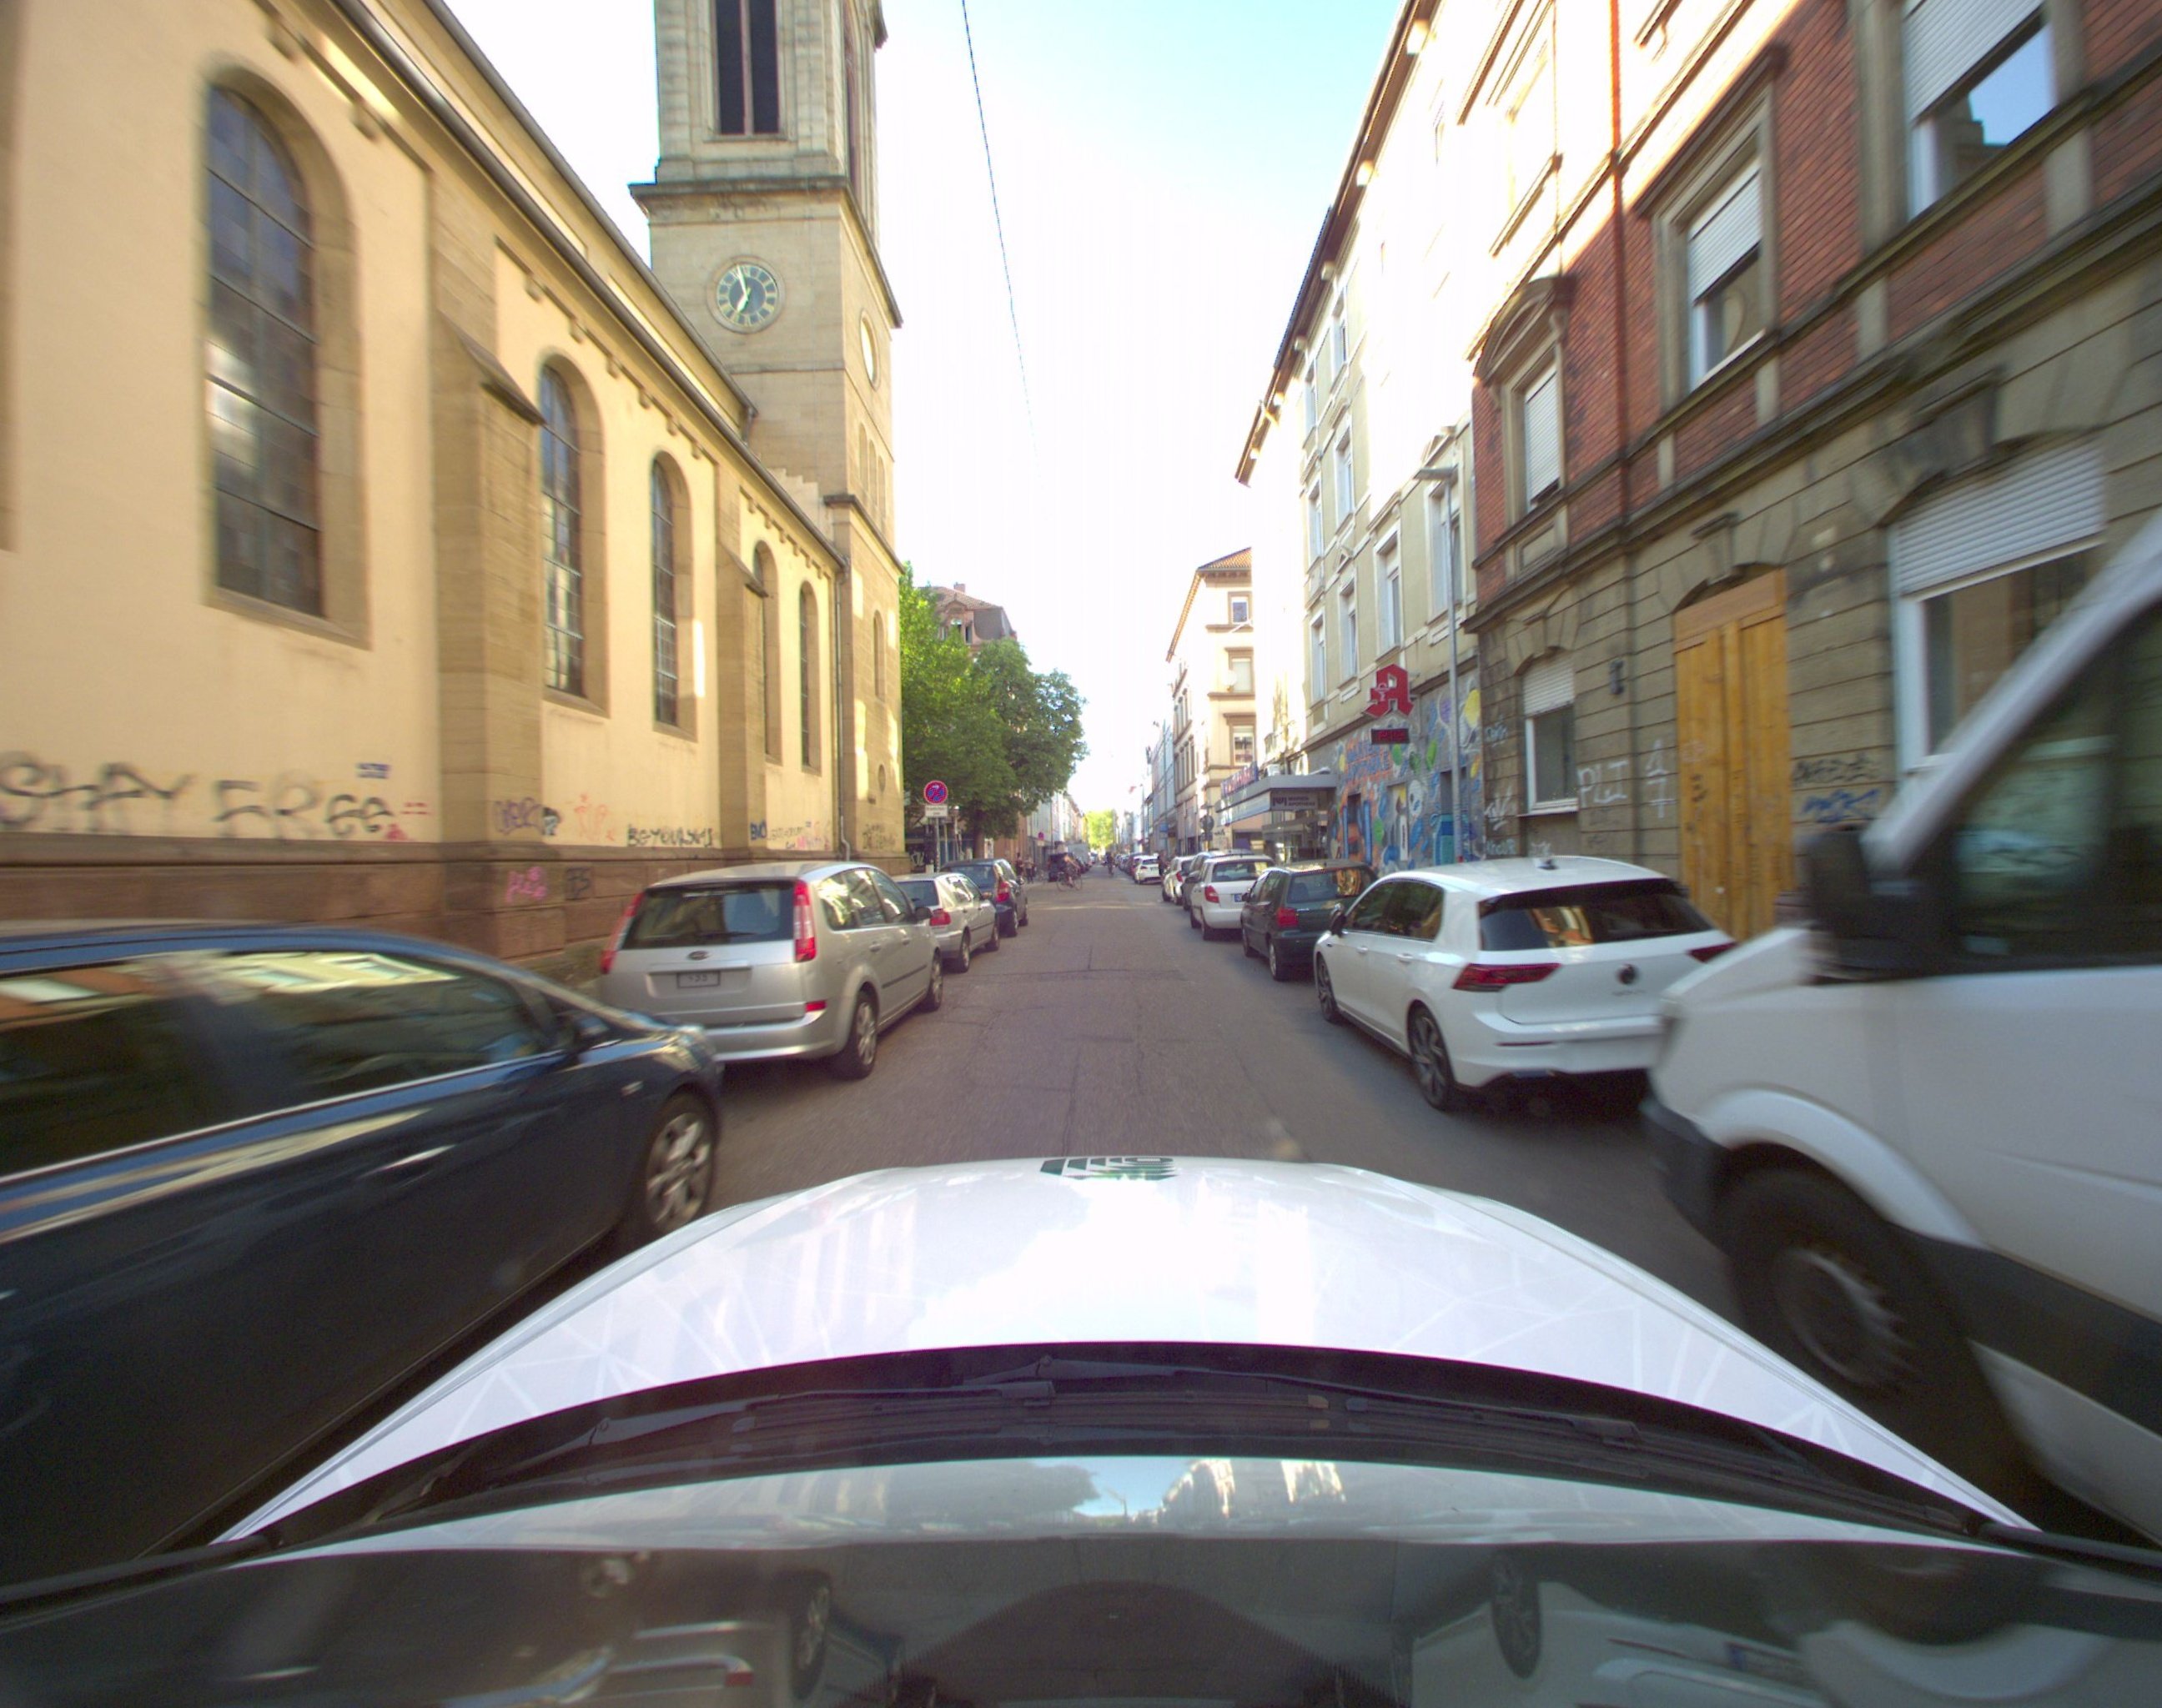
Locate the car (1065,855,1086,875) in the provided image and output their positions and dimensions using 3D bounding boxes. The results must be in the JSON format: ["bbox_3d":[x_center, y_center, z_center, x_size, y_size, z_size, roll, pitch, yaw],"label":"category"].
[{"bbox_3d":[-0.518,1.035,78.553,1.868,1.796,4.002,-1,0,2],"label":"car"}]

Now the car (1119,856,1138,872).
[{"bbox_3d":[5.231,1.052,89.418,1.986,1.686,4.002,1,0,2],"label":"car"}]

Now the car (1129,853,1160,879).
[{"bbox_3d":[4.217,0.791,54.783,1.890,1.651,4.002,-1,0,2],"label":"car"}]

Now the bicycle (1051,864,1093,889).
[{"bbox_3d":[-0.416,1.026,37.600,1.959,1.110,0.758,-1,-1,-44],"label":"bicycle"}]

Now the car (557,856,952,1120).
[{"bbox_3d":[-2.323,0.831,6.994,1.667,1.558,4.000,-2,0,1],"label":"car"}]

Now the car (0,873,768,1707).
[{"bbox_3d":[-2.425,0.850,2.002,1.609,1.452,3.952,-3,0,2],"label":"car"}]

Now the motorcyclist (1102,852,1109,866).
[{"bbox_3d":[3.601,0.763,119.619,0.899,2.014,1.190,-1,-1,0],"label":"motorcyclist"}]

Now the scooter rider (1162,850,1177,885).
[{"bbox_3d":[4.191,0.643,38.504,0.646,1.642,0.685,-1,-1,7],"label":"scooter rider"}]

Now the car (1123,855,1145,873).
[{"bbox_3d":[5.074,0.964,78.662,1.986,1.632,4.002,1,0,2],"label":"car"}]

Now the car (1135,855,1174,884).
[{"bbox_3d":[3.979,0.805,44.615,1.890,1.488,3.871,-1,0,2],"label":"car"}]

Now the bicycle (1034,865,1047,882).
[{"bbox_3d":[-2.686,1.287,53.812,0.644,1.108,1.599,-1,0,-9],"label":"bicycle"}]

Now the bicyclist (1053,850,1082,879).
[{"bbox_3d":[-0.606,0.463,37.434,1.068,1.306,0.748,-1,-1,-44],"label":"bicyclist"}]

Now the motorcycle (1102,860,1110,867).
[{"bbox_3d":[3.606,1.347,119.009,1.039,0.980,2.824,-1,0,0],"label":"motorcycle"}]

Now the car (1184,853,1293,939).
[{"bbox_3d":[3.007,0.738,16.215,1.597,1.505,4.003,0,0,3],"label":"car"}]

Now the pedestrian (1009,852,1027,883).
[{"bbox_3d":[-3.679,0.762,47.884,0.925,1.786,0.807,-1,-1,2],"label":"pedestrian"}]

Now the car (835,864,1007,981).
[{"bbox_3d":[-2.293,0.935,12.685,1.563,1.398,3.813,-5,-1,4],"label":"car"}]

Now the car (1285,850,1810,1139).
[{"bbox_3d":[2.975,0.740,6.424,1.773,1.486,4.362,0,0,2],"label":"car"}]

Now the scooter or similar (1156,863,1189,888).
[{"bbox_3d":[4.327,1.030,38.495,1.521,1.139,0.602,-1,-1,6],"label":"scooter or similar"}]

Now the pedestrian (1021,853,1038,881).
[{"bbox_3d":[-3.150,0.797,50.234,0.925,1.637,0.807,-1,-1,2],"label":"pedestrian"}]

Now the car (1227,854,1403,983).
[{"bbox_3d":[3.069,0.767,11.383,1.563,1.495,3.655,0,0,3],"label":"car"}]

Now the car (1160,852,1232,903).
[{"bbox_3d":[3.625,0.726,26.385,1.711,1.488,3.867,-1,0,-1],"label":"car"}]

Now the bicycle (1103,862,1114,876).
[{"bbox_3d":[2.029,1.084,59.429,0.736,1.043,1.860,-1,0,2],"label":"bicycle"}]

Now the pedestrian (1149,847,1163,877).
[{"bbox_3d":[4.638,0.500,50.410,0.779,1.843,1.013,-1,0,6],"label":"pedestrian"}]

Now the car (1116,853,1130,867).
[{"bbox_3d":[6.173,0.937,121.135,1.986,2.014,4.002,-1,0,2],"label":"car"}]

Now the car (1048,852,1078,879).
[{"bbox_3d":[-1.213,0.763,56.802,1.868,1.796,4.002,-1,0,2],"label":"car"}]

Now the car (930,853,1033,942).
[{"bbox_3d":[-2.020,0.846,17.538,1.594,1.614,3.809,-4,-1,1],"label":"car"}]

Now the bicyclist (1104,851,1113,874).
[{"bbox_3d":[2.023,0.630,59.384,0.603,1.688,0.885,-1,-1,1],"label":"bicyclist"}]

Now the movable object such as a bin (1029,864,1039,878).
[{"bbox_3d":[-3.704,1.341,64.152,0.710,1.142,0.584,-1,-1,5],"label":"movable object such as a bin"}]

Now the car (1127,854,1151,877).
[{"bbox_3d":[4.631,0.876,65.216,1.762,1.741,4.002,-1,0,2],"label":"car"}]

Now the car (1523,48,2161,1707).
[{"bbox_3d":[2.647,0.072,0.173,2.060,2.611,5.890,-1,0,2],"label":"car"}]

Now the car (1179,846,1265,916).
[{"bbox_3d":[3.627,0.662,21.578,1.710,1.645,4.002,-1,0,2],"label":"car"}]

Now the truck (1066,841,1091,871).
[{"bbox_3d":[-0.221,0.208,95.155,2.522,3.282,6.997,-1,0,2],"label":"truck"}]

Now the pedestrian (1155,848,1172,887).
[{"bbox_3d":[4.015,0.646,39.660,0.681,1.843,0.692,0,0,-10],"label":"pedestrian"}]
